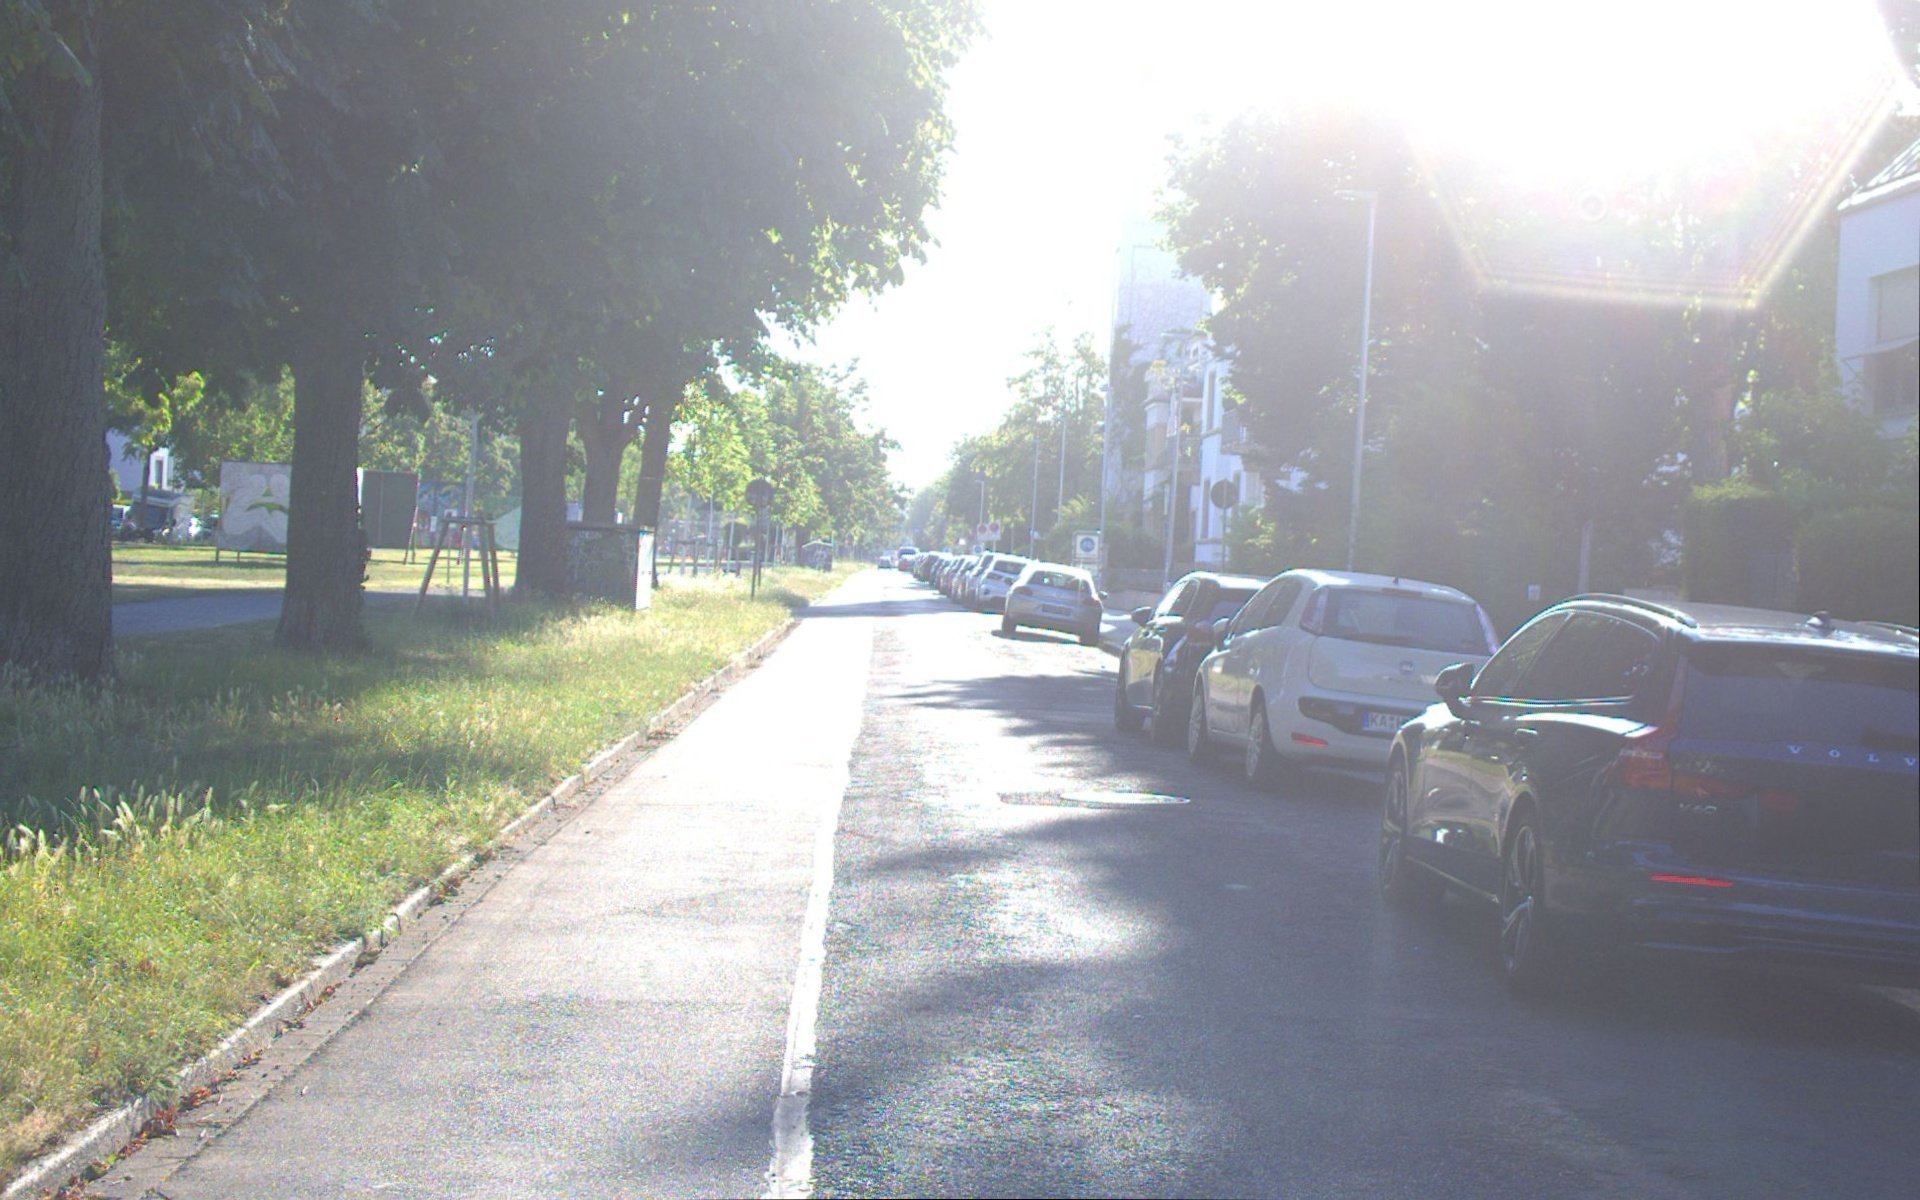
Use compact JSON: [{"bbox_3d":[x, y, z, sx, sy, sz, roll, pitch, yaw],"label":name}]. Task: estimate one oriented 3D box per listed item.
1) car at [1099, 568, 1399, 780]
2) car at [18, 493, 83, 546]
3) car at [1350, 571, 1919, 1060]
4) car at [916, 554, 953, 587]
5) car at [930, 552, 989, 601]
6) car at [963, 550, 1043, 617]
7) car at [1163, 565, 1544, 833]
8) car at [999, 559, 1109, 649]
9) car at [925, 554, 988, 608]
[{"bbox_3d":[2.321,0.556,28.697,1.748,1.472,4.289,5,1,-4],"label":"car"},{"bbox_3d":[-43.489,-3.847,164.506,1.993,2.401,4.363,1,0,-1],"label":"car"},{"bbox_3d":[2.779,0.696,13.264,1.793,1.487,4.675,4,0,-2],"label":"car"},{"bbox_3d":[-1.415,-1.640,191.071,1.980,1.677,4.000,3,0,0],"label":"car"},{"bbox_3d":[-0.035,-0.828,119.800,1.761,1.516,4.000,5,0,-2],"label":"car"},{"bbox_3d":[1.089,-0.450,89.143,1.758,1.599,4.359,3,1,-2],"label":"car"},{"bbox_3d":[2.605,0.610,23.689,1.691,1.478,3.930,7,0,-5],"label":"car"},{"bbox_3d":[1.764,0.050,65.937,1.757,1.415,4.072,9,0,-1],"label":"car"},{"bbox_3d":[-0.135,-0.612,109.574,1.758,1.599,4.359,3,1,-2],"label":"car"}]
